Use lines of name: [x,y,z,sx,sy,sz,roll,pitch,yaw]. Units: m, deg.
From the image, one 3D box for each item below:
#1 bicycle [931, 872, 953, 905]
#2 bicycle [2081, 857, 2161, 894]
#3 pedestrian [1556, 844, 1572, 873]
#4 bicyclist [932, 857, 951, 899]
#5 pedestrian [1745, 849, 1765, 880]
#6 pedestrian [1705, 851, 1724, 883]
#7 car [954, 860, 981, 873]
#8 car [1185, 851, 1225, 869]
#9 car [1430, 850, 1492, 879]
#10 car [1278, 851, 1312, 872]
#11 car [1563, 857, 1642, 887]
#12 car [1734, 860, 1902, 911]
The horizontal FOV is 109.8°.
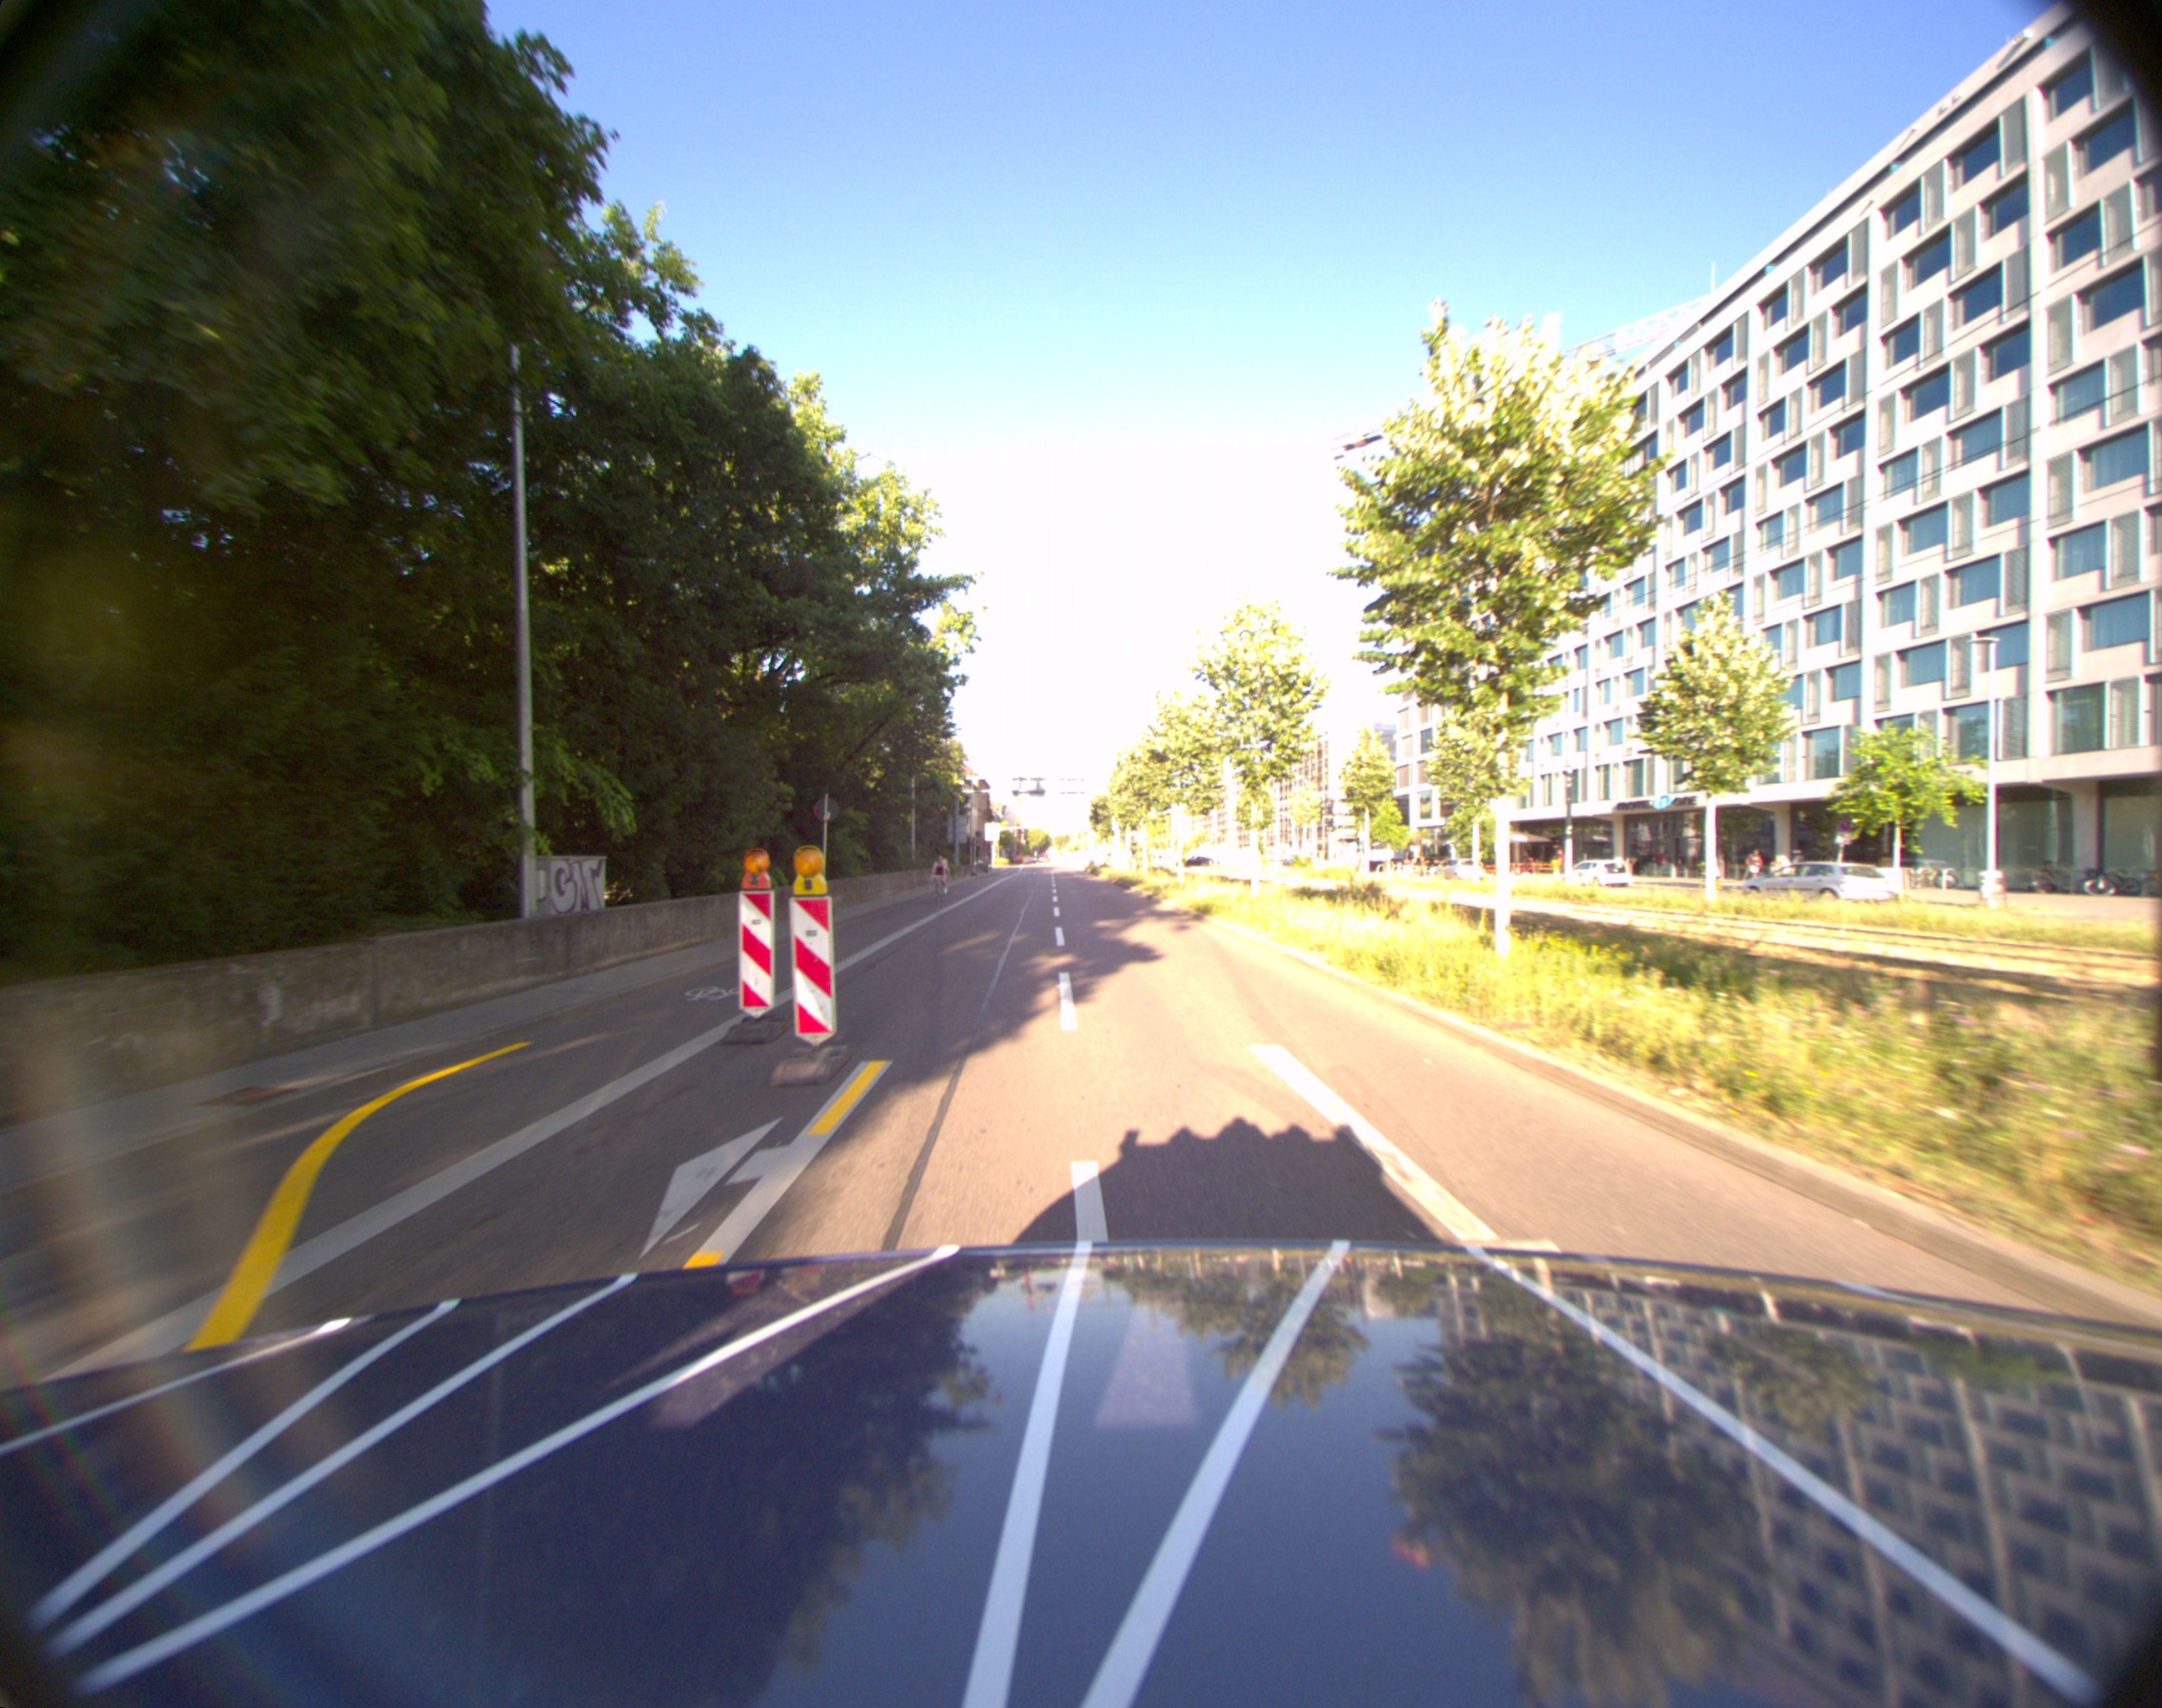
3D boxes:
bicycle: [-4.659,1.131,25.501,0.506,1.018,1.505,0,1,-2]
bicycle: [36.275,0.734,26.478,0.394,1.223,1.718,0,1,-12]
pedestrian: [33.238,0.316,52.332,0.622,2.002,0.725,0,1,-2]
bicyclist: [-4.675,0.797,25.480,0.516,1.399,0.805,0,1,-3]
pedestrian: [35.151,0.549,39.634,0.479,1.626,0.597,0,1,-2]
pedestrian: [32.493,0.667,38.983,0.479,1.626,0.597,0,1,-2]
car: [-12.660,1.412,84.886,2.002,1.346,3.992,-1,1,-23]
car: [13.231,0.651,81.146,3.782,1.742,1.879,-1,1,43]
car: [22.874,0.585,45.833,1.875,1.582,3.481,-2,1,-2]
car: [19.174,0.628,68.204,1.875,1.742,3.791,-2,1,-2]
car: [28.315,0.937,41.380,1.875,1.458,3.388,-2,1,-2]
car: [23.733,0.959,24.681,1.613,1.370,3.878,-2,1,-2]
